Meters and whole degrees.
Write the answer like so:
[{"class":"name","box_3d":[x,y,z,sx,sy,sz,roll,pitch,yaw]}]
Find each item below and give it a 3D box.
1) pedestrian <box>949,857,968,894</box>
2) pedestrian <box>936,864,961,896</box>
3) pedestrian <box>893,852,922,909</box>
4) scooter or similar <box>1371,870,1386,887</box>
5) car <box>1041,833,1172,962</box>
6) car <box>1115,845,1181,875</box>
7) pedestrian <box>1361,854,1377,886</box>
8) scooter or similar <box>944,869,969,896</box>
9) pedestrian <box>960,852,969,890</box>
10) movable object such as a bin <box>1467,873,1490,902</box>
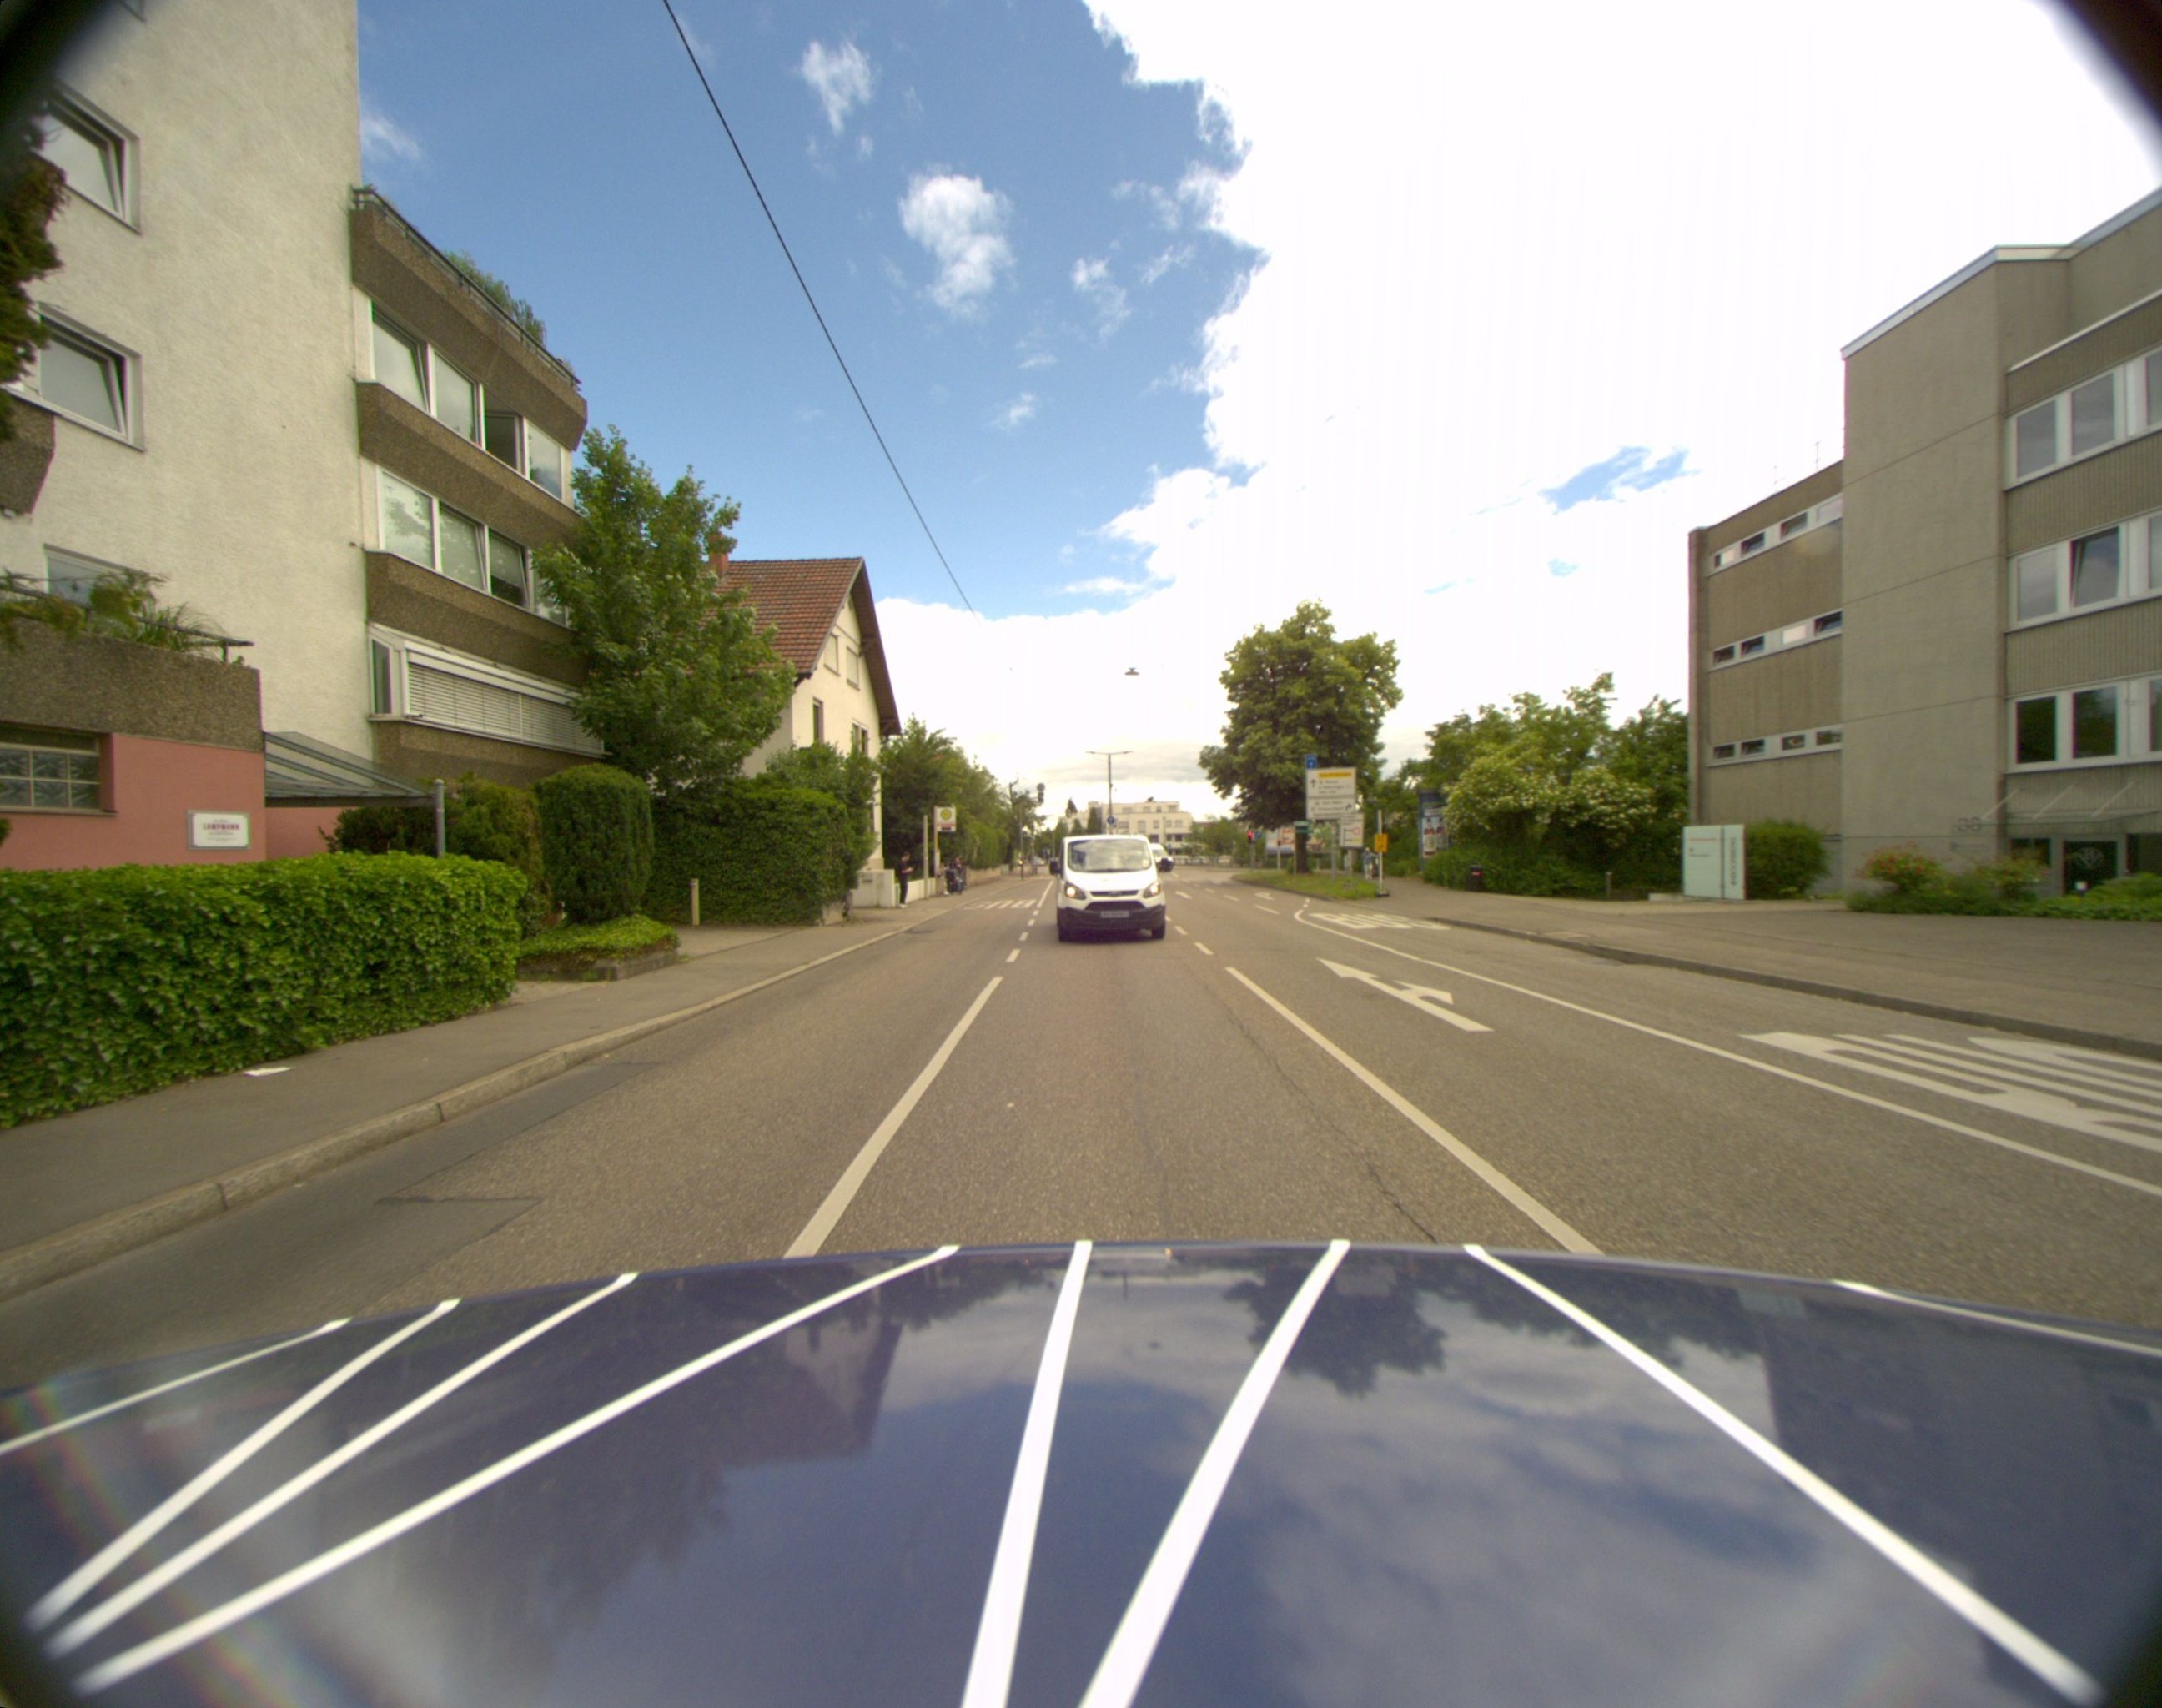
[{"class":"pedestrian","box_3d":[-5.219,0.921,32.506,0.661,1.526,0.748,1,1,-1]},{"class":"pedestrian","box_3d":[-5.345,1.043,30.643,0.916,1.244,0.789,1,1,-5]},{"class":"pedestrian","box_3d":[-5.541,0.846,24.316,0.489,1.757,0.672,-2,2,32]},{"class":"scooter or similar","box_3d":[14.455,1.179,36.903,0.607,0.782,0.860,-2,1,18]},{"class":"car","box_3d":[0.388,0.651,14.972,1.999,1.961,5.714,-3,1,-1]},{"class":"car","box_3d":[6.218,0.564,72.151,2.201,2.630,7.428,-4,1,-31]},{"class":"pedestrian","box_3d":[14.415,0.816,37.991,0.672,1.549,0.520,-2,1,18]},{"class":"scooter or similar","box_3d":[-5.186,1.163,31.658,0.478,1.091,0.860,3,1,43]},{"class":"pedestrian","box_3d":[-5.415,0.776,35.220,0.344,1.745,0.496,1,1,-4]},{"class":"movable object such as a bin","box_3d":[13.409,1.126,25.629,0.566,0.922,0.608,-2,1,17]}]
